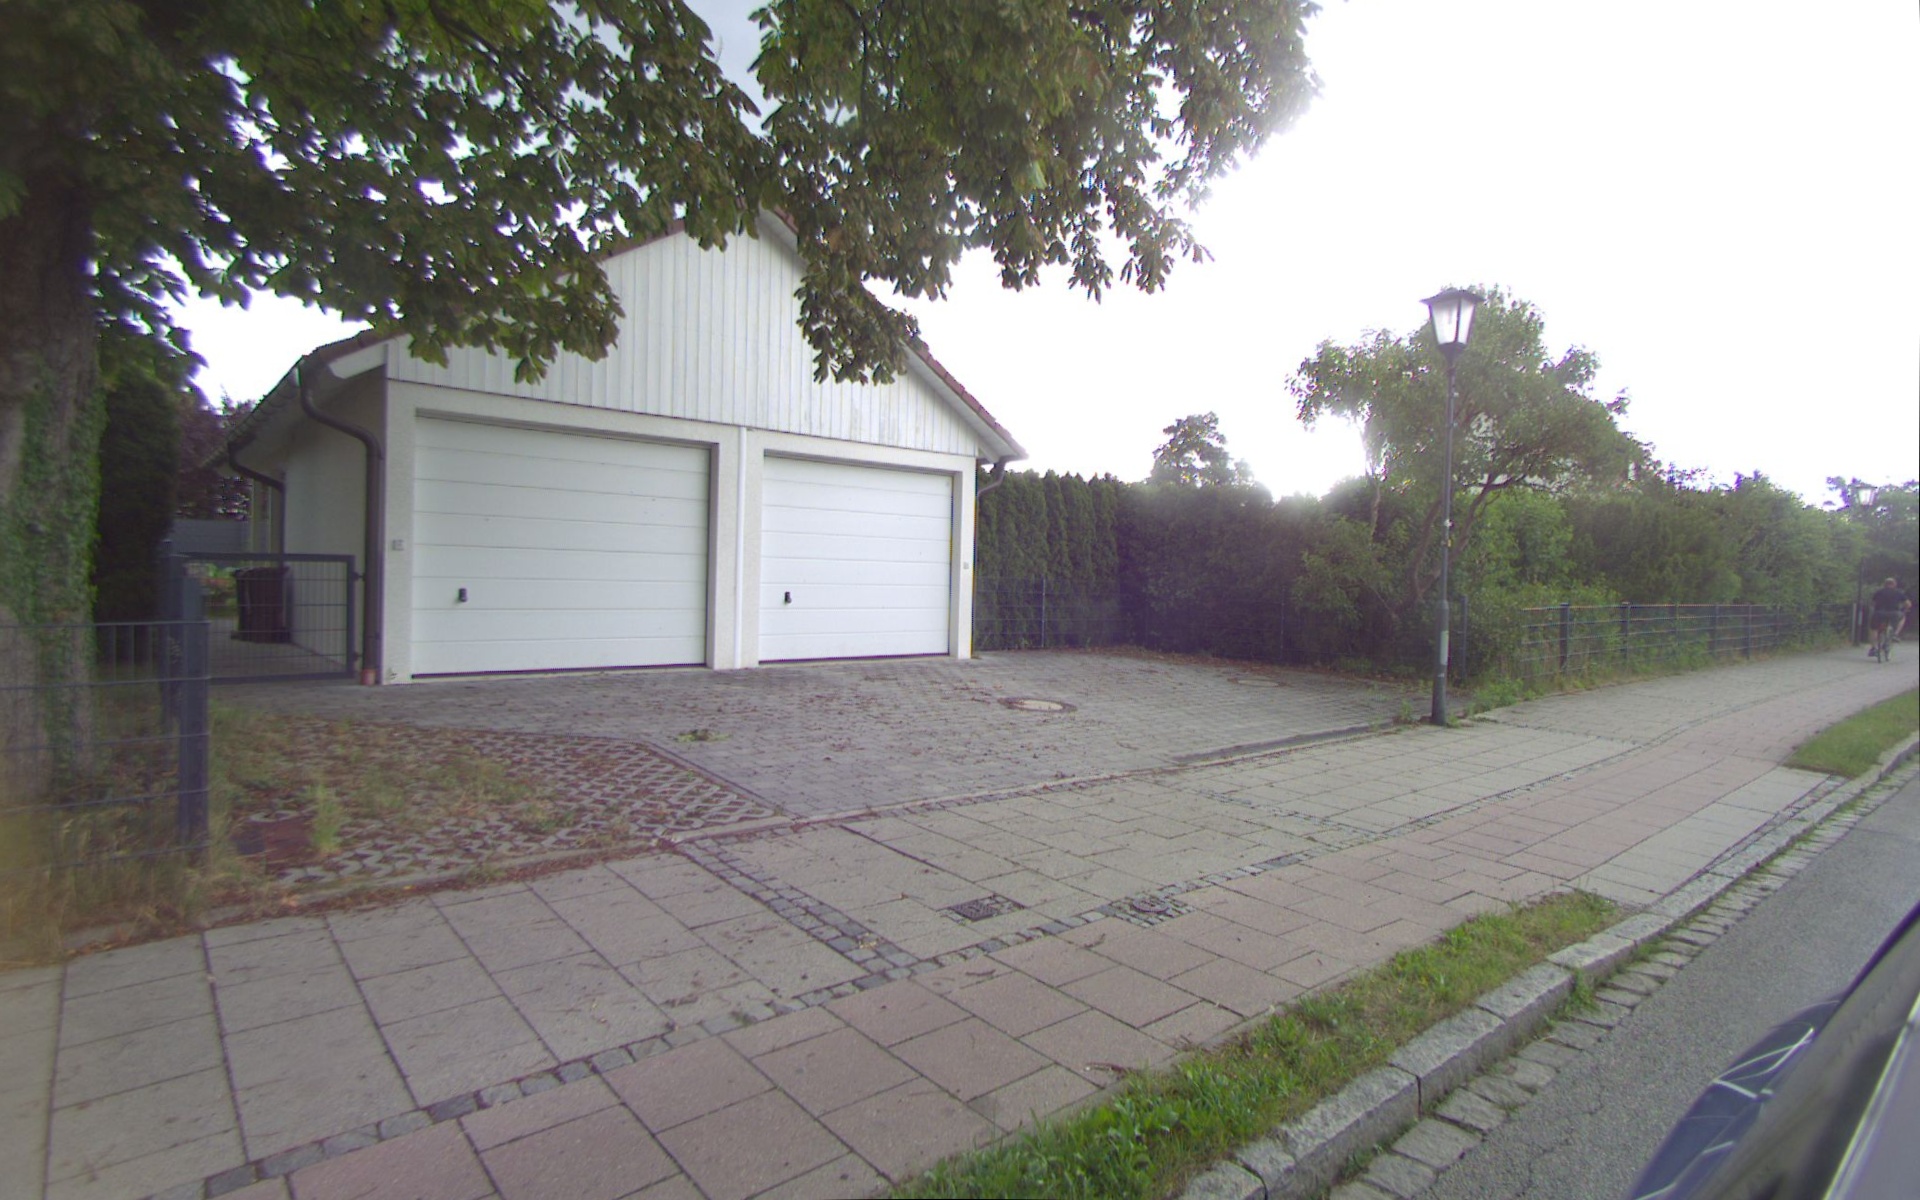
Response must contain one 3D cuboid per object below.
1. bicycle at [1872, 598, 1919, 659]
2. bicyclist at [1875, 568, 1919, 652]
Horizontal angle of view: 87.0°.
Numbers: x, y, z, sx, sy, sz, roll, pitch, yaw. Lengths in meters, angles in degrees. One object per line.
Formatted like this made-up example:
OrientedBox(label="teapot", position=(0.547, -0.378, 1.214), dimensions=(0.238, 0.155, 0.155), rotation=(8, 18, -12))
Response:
OrientedBox(label="bicycle", position=(19.226, 0.557, 20.521), dimensions=(1.812, 1.157, 0.766), rotation=(0, 3, -39))
OrientedBox(label="bicyclist", position=(19.222, 0.194, 20.587), dimensions=(0.875, 1.652, 0.738), rotation=(0, 2, -40))
